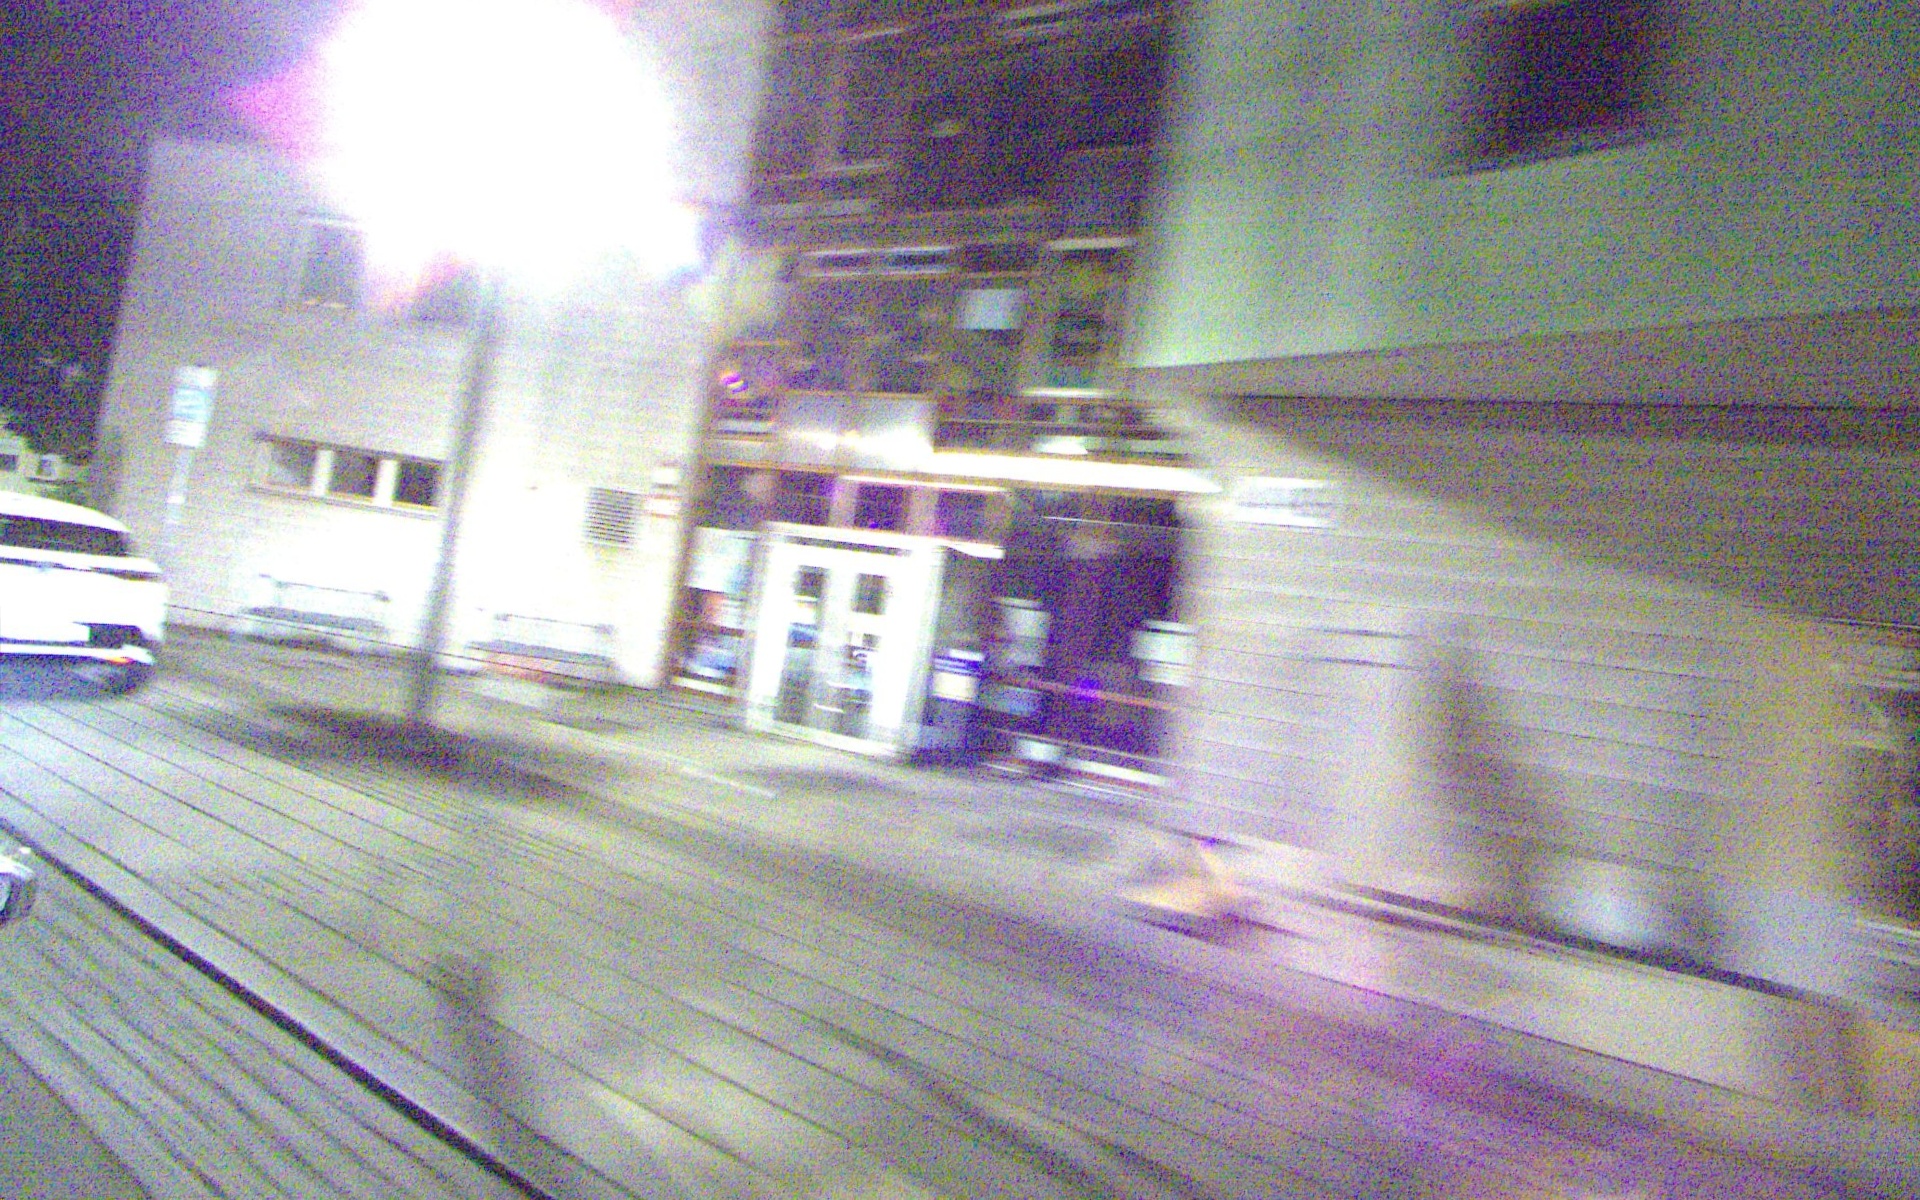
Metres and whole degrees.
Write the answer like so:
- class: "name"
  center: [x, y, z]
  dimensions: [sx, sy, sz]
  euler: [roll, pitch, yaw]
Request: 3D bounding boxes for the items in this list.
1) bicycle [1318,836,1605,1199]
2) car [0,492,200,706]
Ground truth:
- class: "bicycle"
  center: [1.112, 1.188, 2.270]
  dimensions: [0.340, 1.074, 1.759]
  euler: [7, -2, 29]
- class: "car"
  center: [-8.339, -0.181, 8.410]
  dimensions: [3.993, 1.509, 1.792]
  euler: [7, -1, 33]
